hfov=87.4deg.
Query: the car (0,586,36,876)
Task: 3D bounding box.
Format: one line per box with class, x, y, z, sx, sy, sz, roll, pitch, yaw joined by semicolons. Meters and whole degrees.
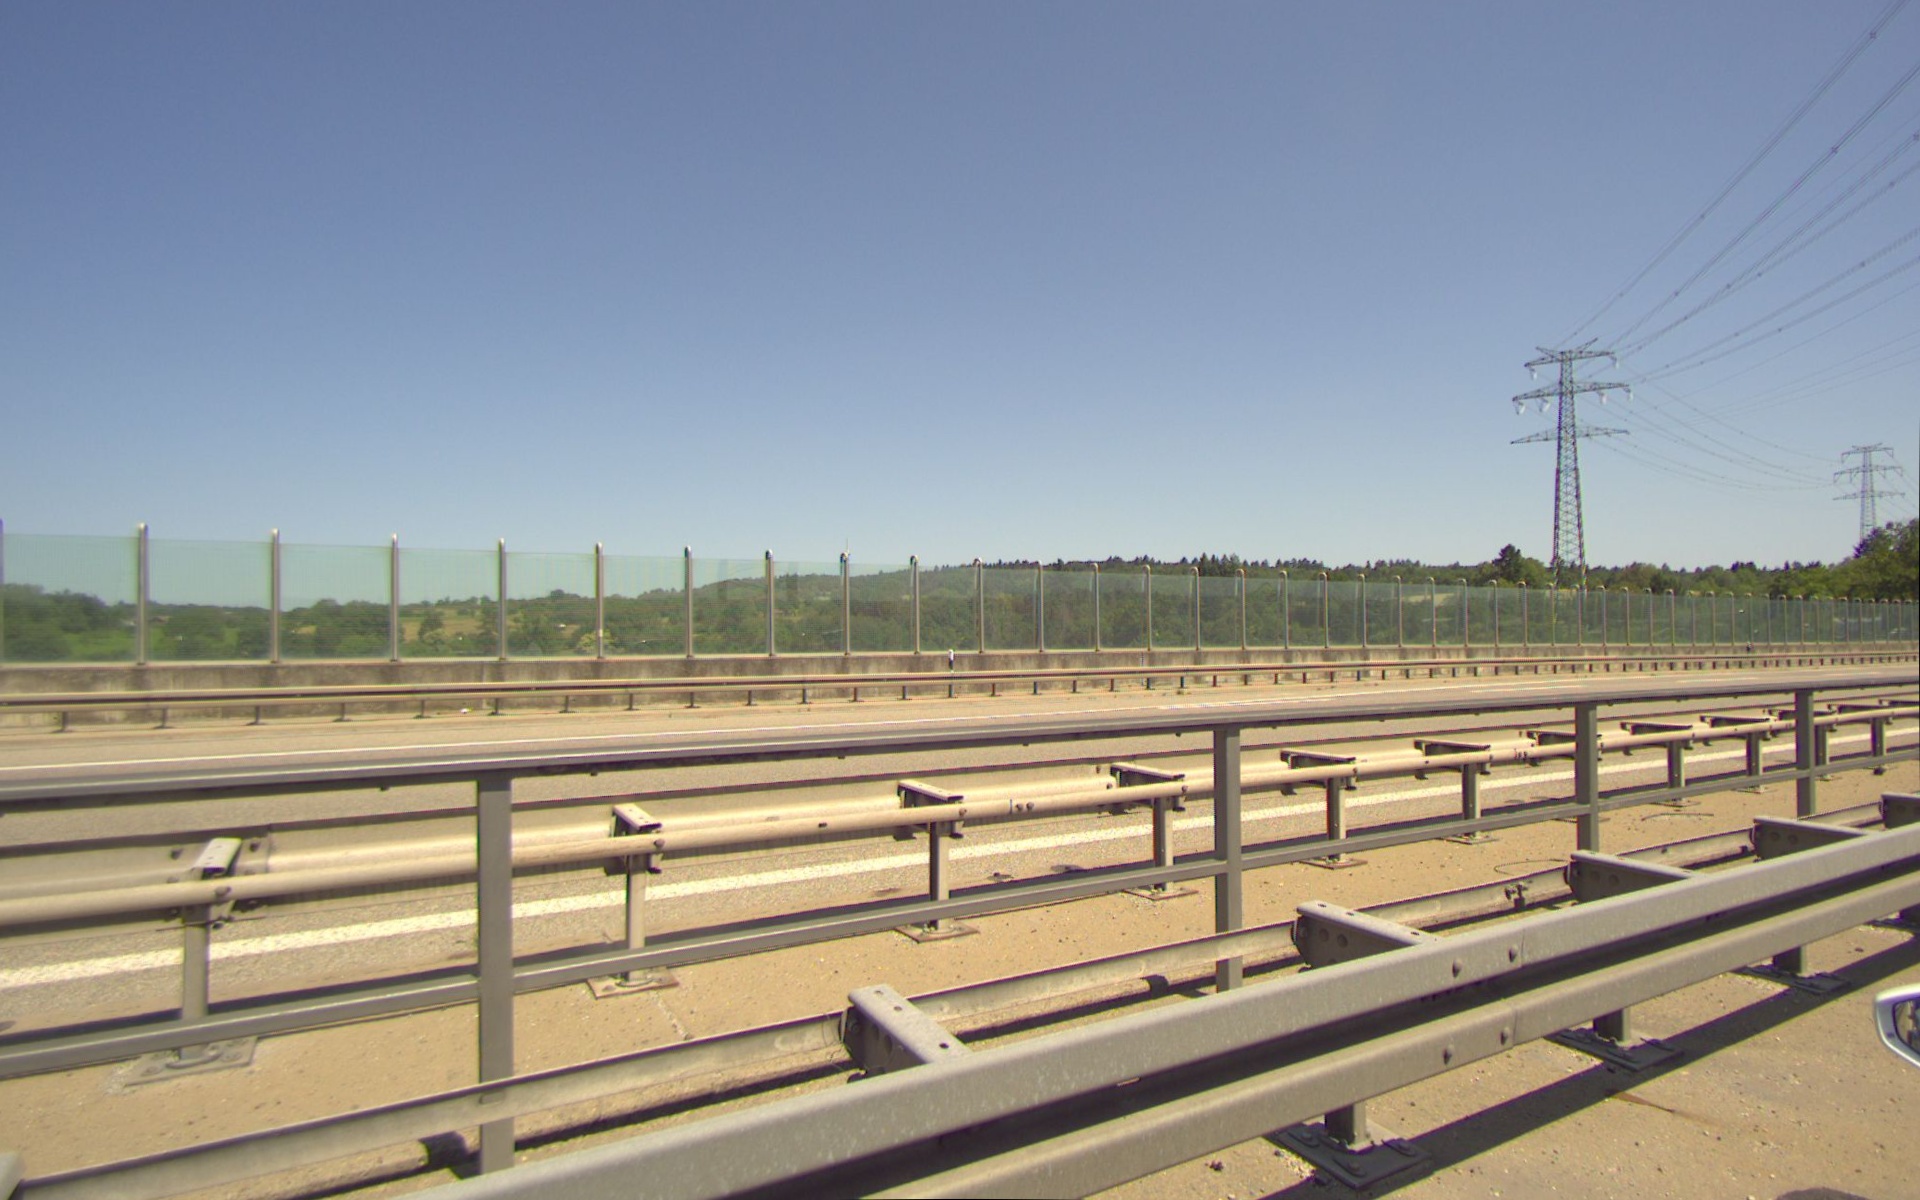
car;-7.406;0.732;4.551;4.379;1.722;1.858;1;-3;-31
